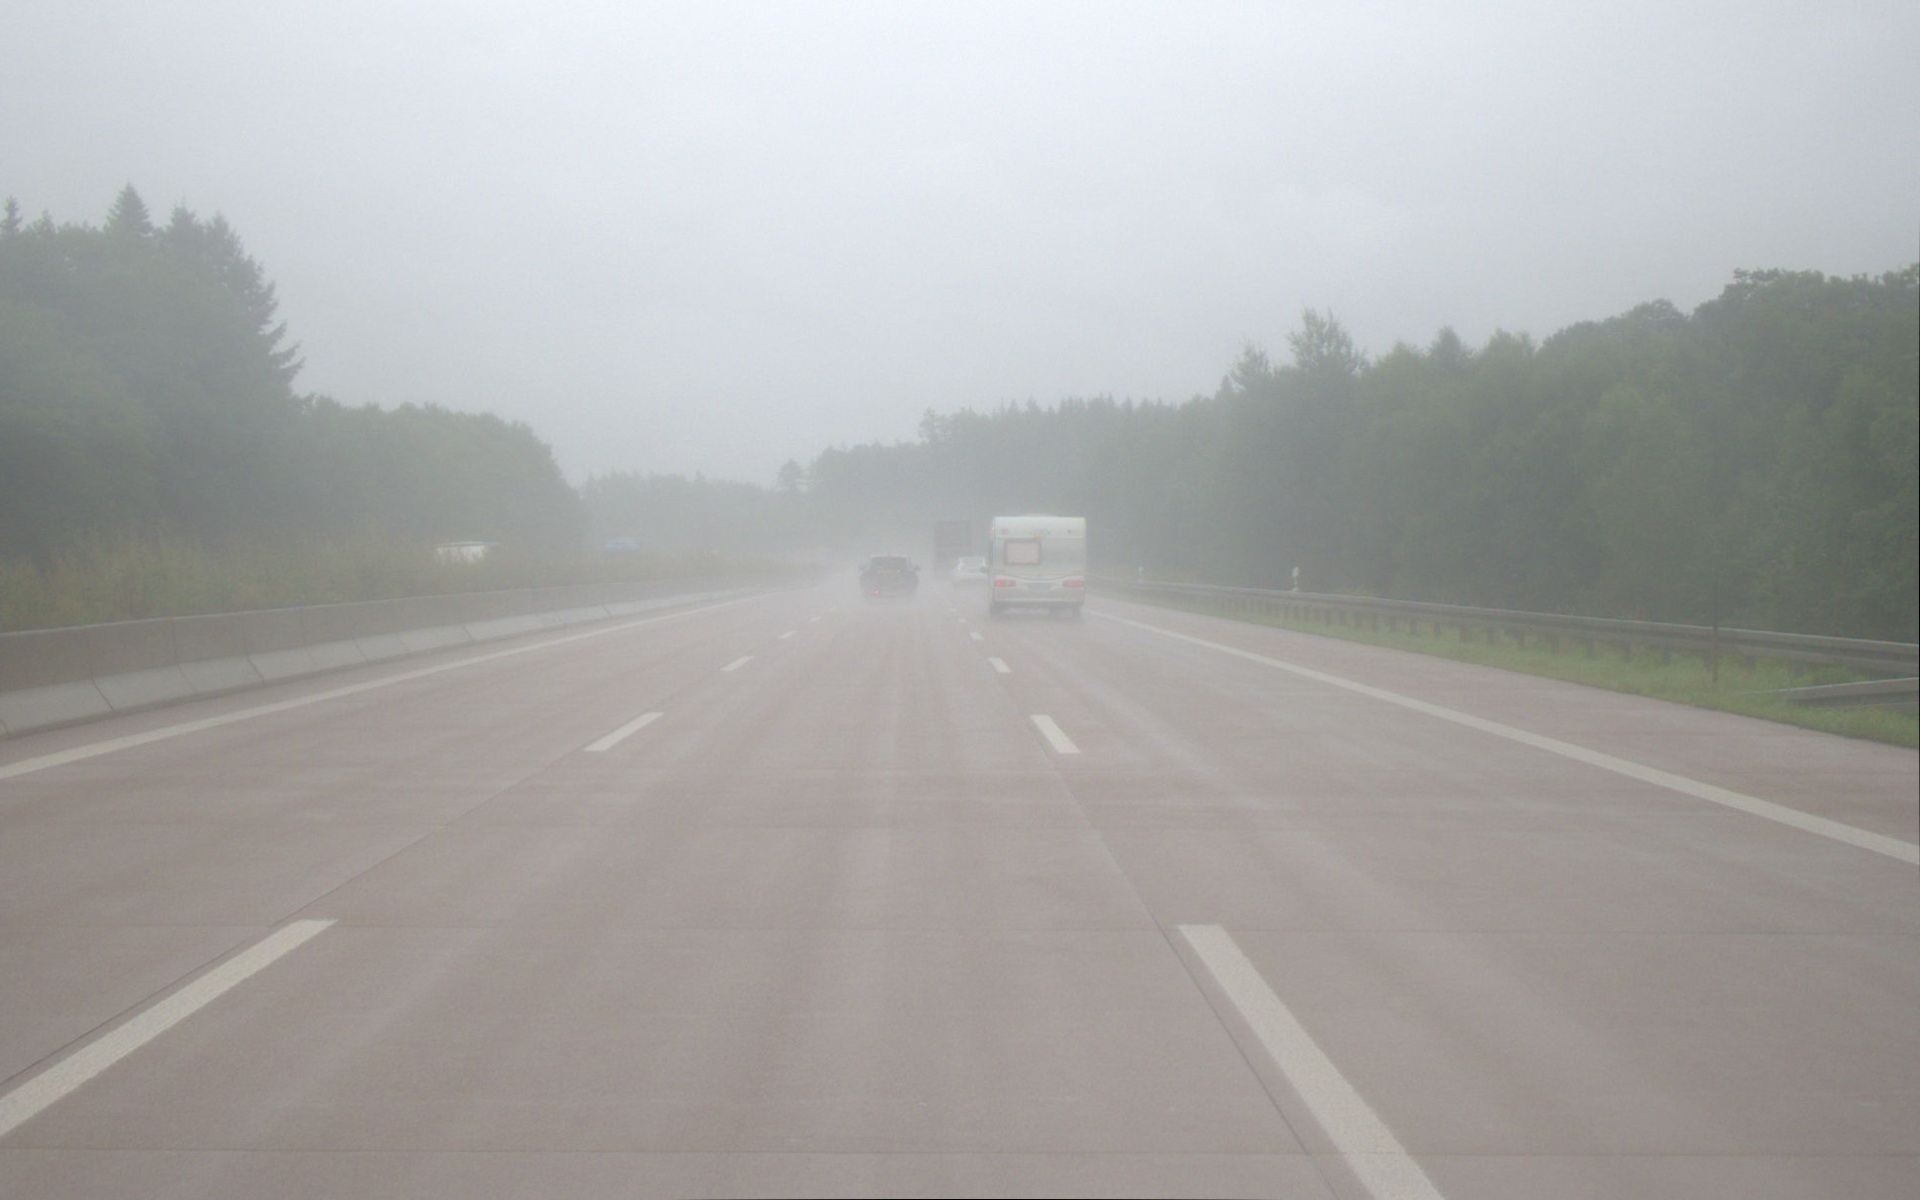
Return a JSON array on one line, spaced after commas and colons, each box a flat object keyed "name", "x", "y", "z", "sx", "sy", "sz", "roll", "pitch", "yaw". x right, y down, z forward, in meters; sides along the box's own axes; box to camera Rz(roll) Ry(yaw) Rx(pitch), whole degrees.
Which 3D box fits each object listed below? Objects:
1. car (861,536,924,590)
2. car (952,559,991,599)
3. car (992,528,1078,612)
[{"name": "car", "x": -2.209, "y": -1.239, "z": 113.880, "sx": 1.937, "sy": 1.723, "sz": 4.130, "roll": 1, "pitch": 1, "yaw": 1}, {"name": "car", "x": 0.592, "y": -1.064, "z": 172.741, "sx": 1.937, "sy": 1.974, "sz": 4.130, "roll": 1, "pitch": 1, "yaw": 1}, {"name": "car", "x": 1.808, "y": -0.745, "z": 84.278, "sx": 2.058, "sy": 1.993, "sz": 4.098, "roll": 0, "pitch": 1, "yaw": 1}]
